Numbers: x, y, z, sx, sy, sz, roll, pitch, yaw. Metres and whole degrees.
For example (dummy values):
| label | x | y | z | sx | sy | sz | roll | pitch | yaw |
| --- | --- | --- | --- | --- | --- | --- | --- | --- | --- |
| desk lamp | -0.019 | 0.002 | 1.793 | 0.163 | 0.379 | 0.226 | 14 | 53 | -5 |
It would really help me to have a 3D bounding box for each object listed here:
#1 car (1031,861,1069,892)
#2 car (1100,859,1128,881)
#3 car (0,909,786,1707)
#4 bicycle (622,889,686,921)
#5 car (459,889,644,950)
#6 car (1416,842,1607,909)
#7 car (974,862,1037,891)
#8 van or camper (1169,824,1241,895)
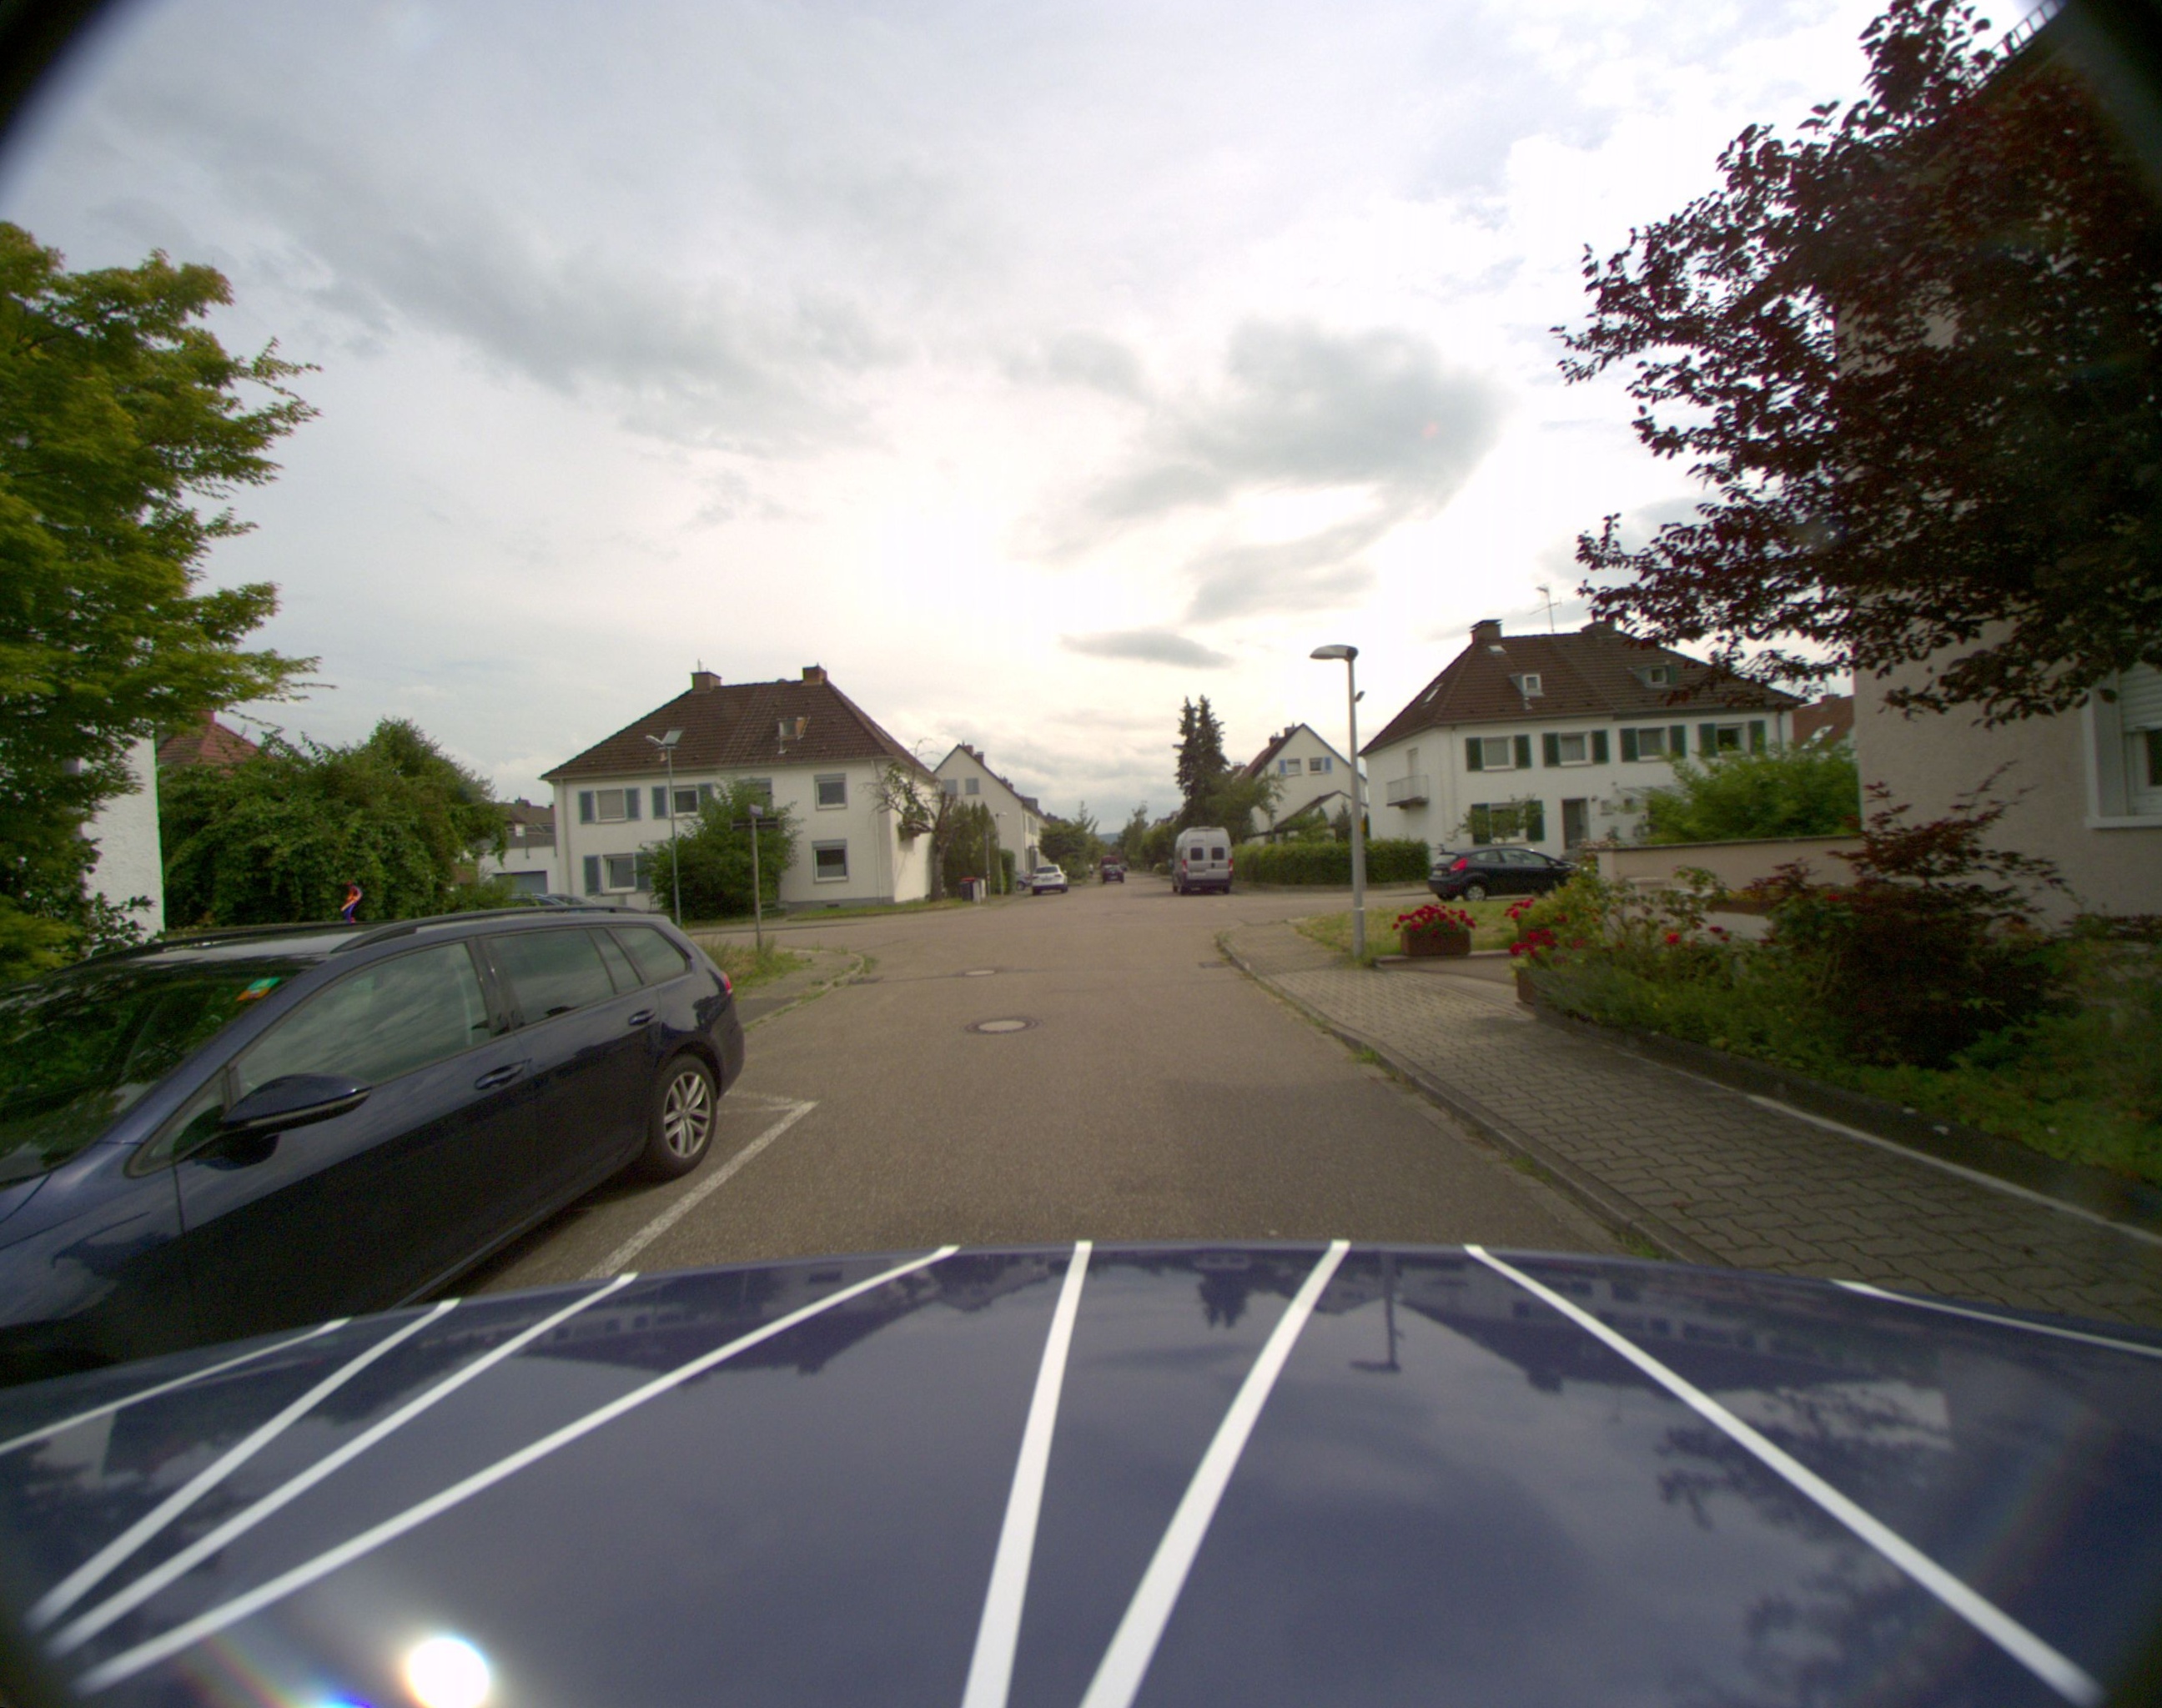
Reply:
| label | x | y | z | sx | sy | sz | roll | pitch | yaw |
| --- | --- | --- | --- | --- | --- | --- | --- | --- | --- |
| car | -1.722 | 1.226 | 43.212 | 1.999 | 1.589 | 4.000 | -3 | 0 | -1 |
| car | 2.797 | 1.314 | 63.194 | 1.998 | 1.696 | 4.002 | -3 | 0 | 5 |
| car | -3.052 | 1.121 | 2.695 | 1.872 | 1.431 | 4.851 | -3 | 0 | 2 |
| bicycle | -17.026 | 2.038 | 30.305 | 2.169 | 1.128 | 0.572 | -3 | 0 | 2 |
| car | -17.004 | 2.080 | 24.553 | 4.541 | 1.560 | 2.000 | -3 | 0 | 3 |
| car | 10.966 | 0.534 | 19.564 | 3.881 | 1.433 | 1.722 | -3 | 0 | 1 |
| car | -5.218 | 1.552 | 52.932 | 3.996 | 1.696 | 2.000 | -3 | 0 | 3 |
| van or camper | 5.301 | 0.229 | 33.369 | 2.346 | 2.719 | 5.749 | -3 | 0 | 2 |
